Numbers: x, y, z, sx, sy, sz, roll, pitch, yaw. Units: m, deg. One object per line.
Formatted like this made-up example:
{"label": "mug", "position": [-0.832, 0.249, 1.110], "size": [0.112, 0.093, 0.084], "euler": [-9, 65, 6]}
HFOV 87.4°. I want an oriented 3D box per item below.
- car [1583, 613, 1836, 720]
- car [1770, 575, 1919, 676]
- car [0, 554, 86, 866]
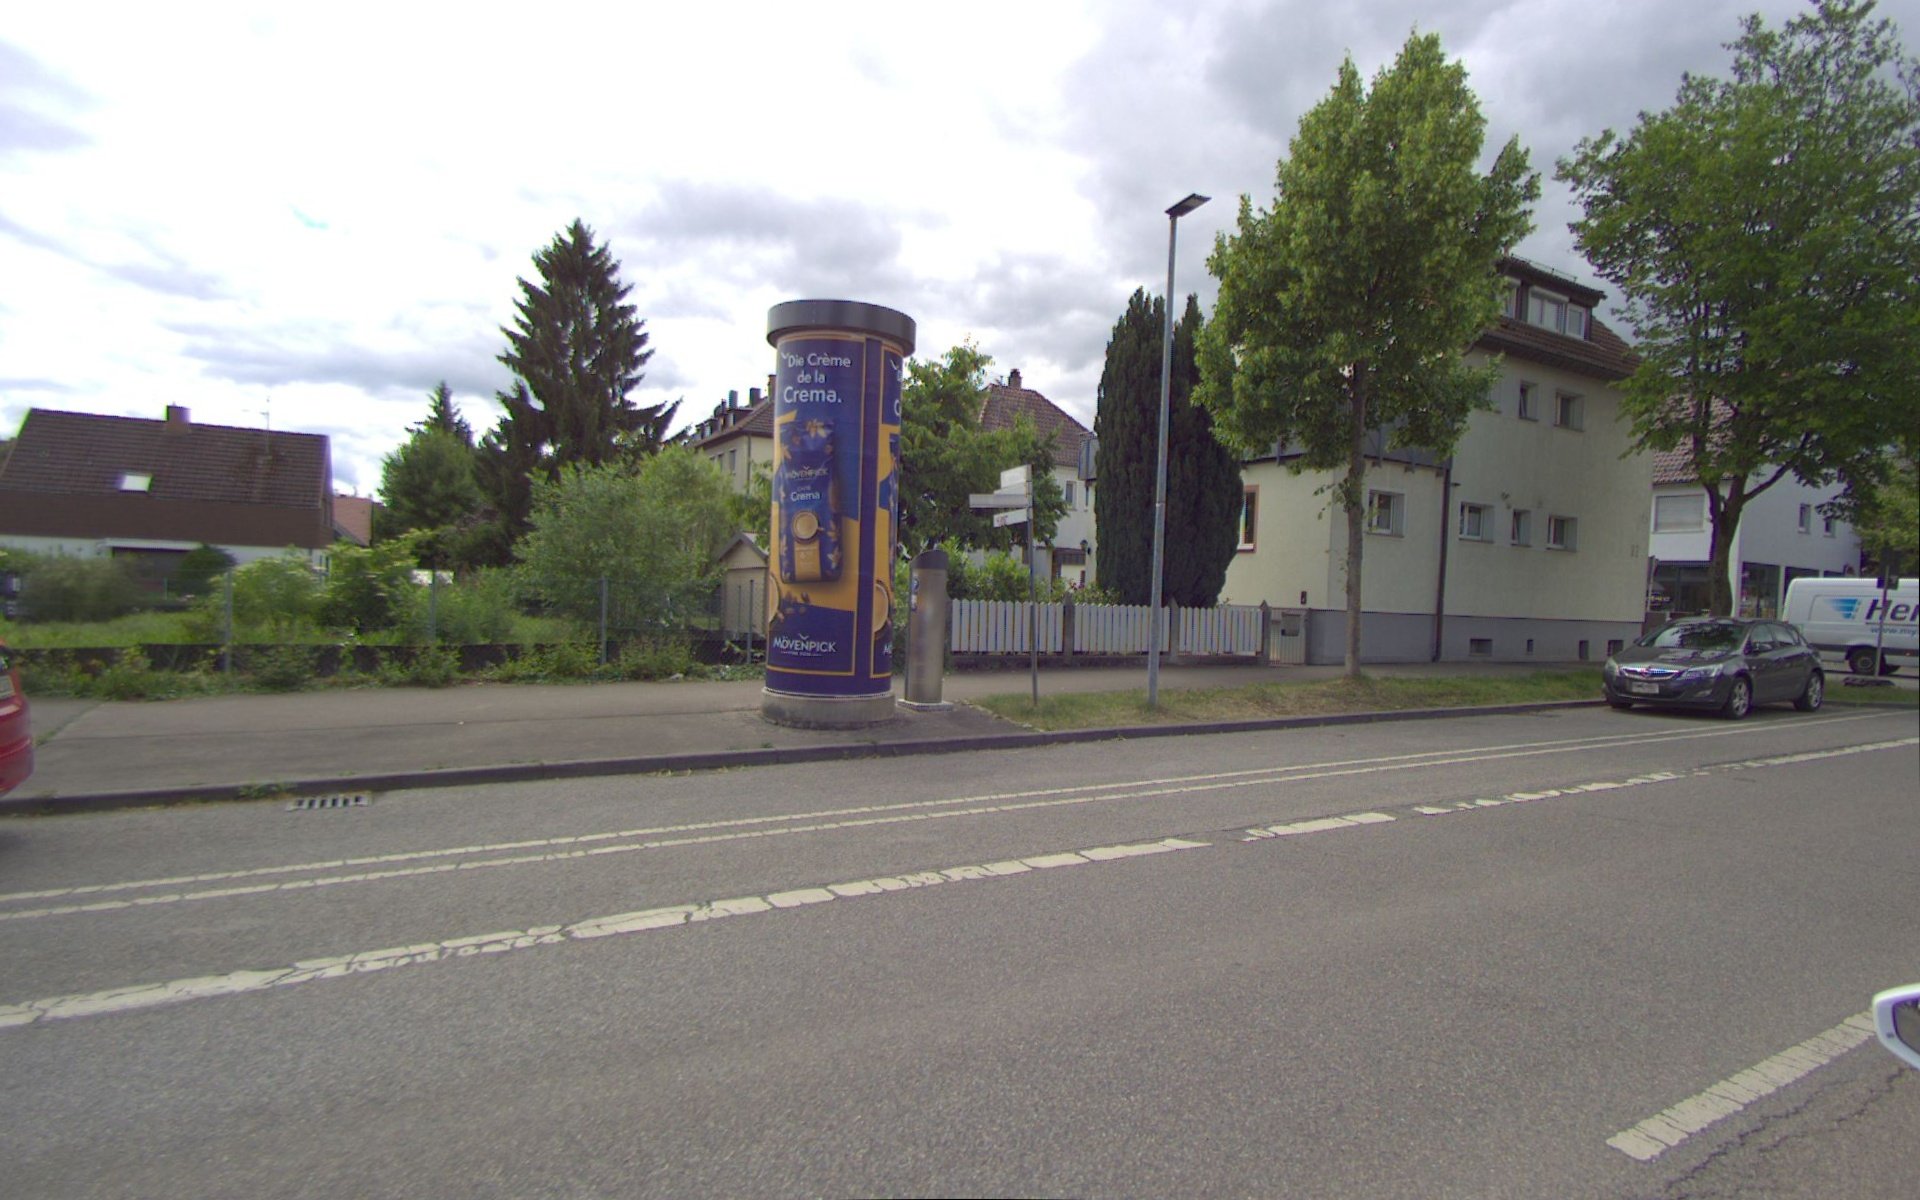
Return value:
{"label": "car", "position": [12.018, 0.991, 16.054], "size": [4.251, 1.488, 1.722], "euler": [1, 0, -31]}
{"label": "car", "position": [26.334, 0.698, 26.621], "size": [2.197, 2.629, 7.243], "euler": [1, 1, -34]}
{"label": "car", "position": [-6.840, 0.502, 4.521], "size": [4.082, 1.561, 1.677], "euler": [1, 0, -30]}
